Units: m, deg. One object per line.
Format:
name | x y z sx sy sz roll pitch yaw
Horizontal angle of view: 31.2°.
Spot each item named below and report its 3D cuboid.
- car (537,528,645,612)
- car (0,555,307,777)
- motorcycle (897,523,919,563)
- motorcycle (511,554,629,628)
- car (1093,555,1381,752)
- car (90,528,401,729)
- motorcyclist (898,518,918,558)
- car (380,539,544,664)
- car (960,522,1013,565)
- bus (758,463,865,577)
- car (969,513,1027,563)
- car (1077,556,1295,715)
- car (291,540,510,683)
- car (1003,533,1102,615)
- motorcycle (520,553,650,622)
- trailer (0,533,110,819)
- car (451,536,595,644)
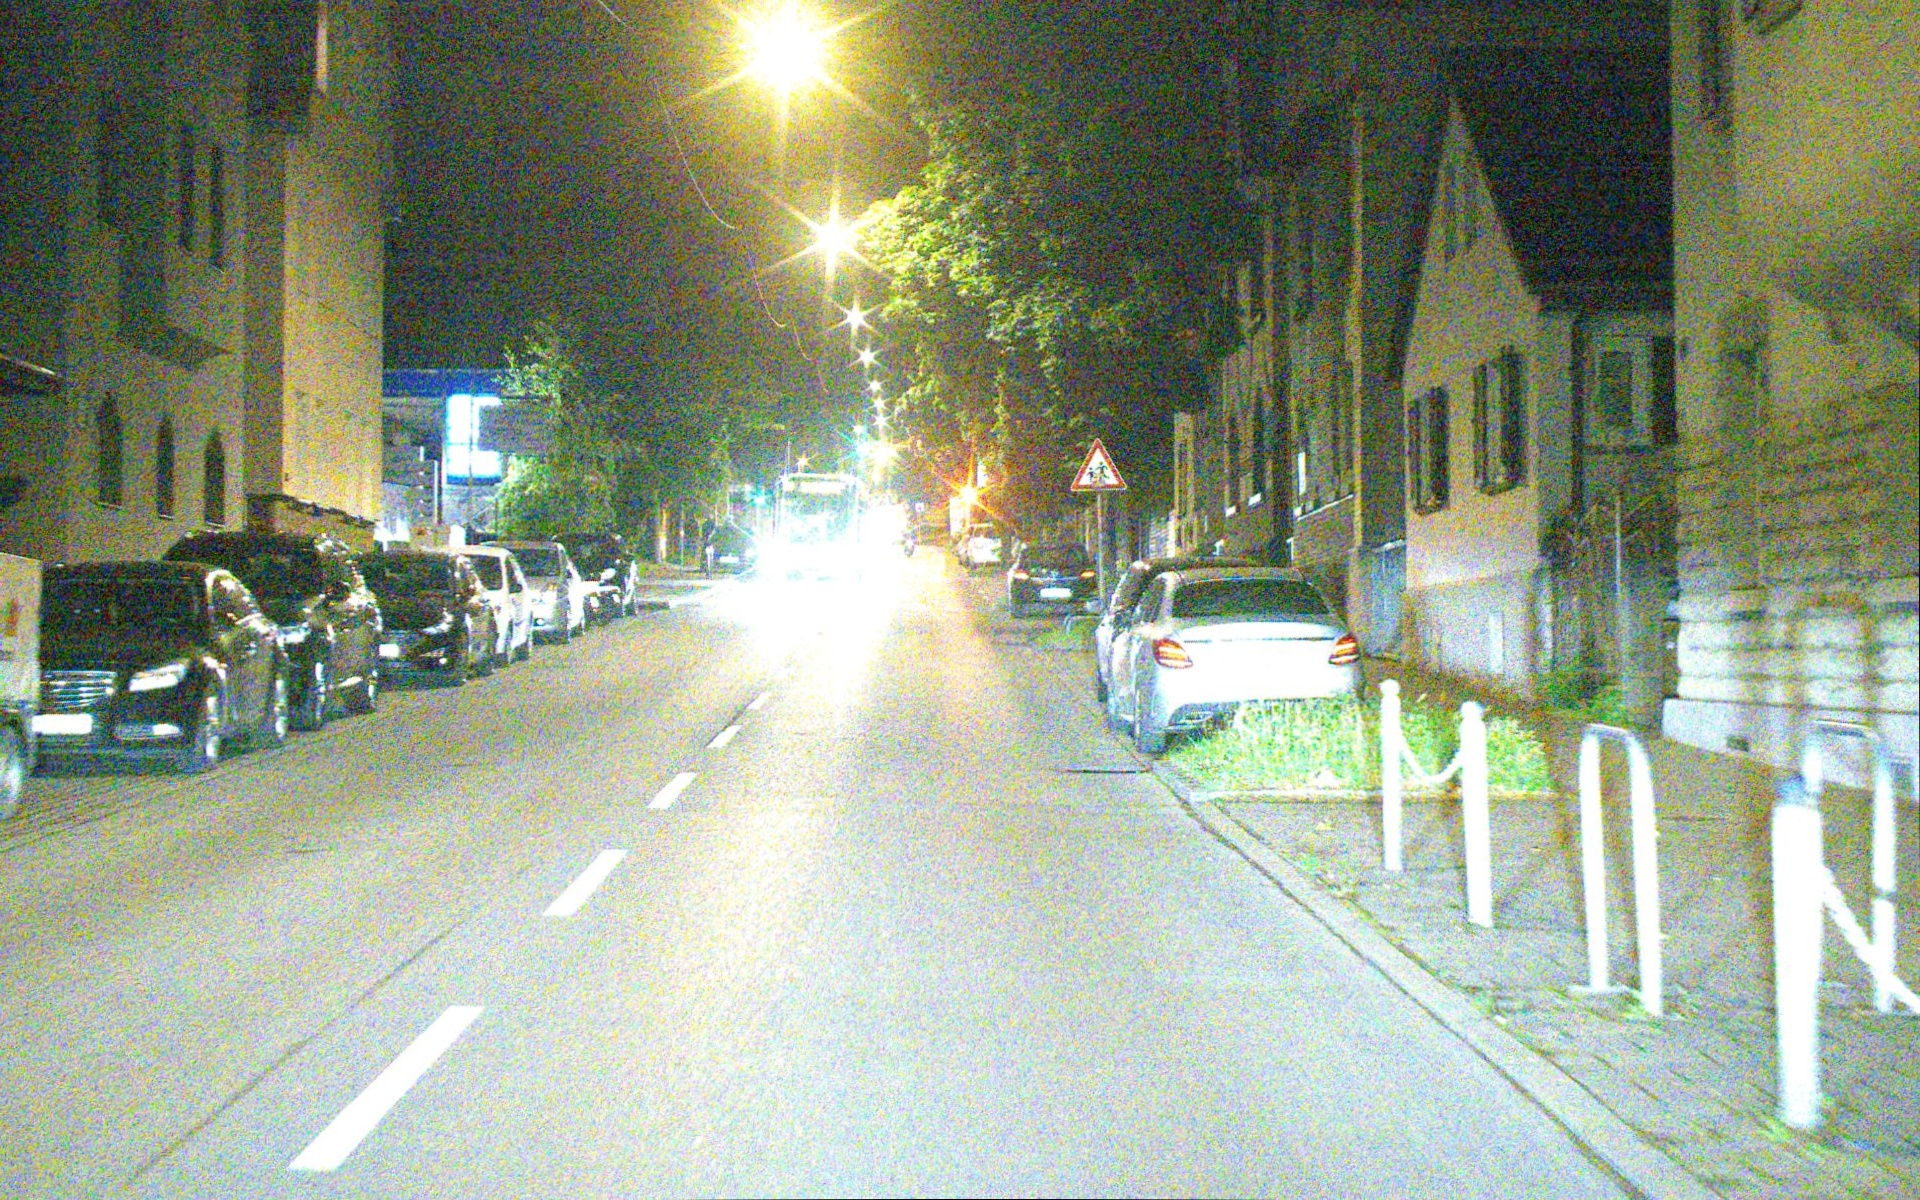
car | -6.768 -0.548 63.246 1.638 1.493 2.765 0 0 1
car | -6.125 0.418 25.506 1.835 1.442 4.545 0 1 -2
motorcycle | -2.315 -2.552 153.350 0.931 1.746 2.625 1 0 -1
motorcycle | -6.338 -0.155 55.794 0.714 1.143 2.208 -2 2 -43
car | 2.196 0.383 28.430 1.845 1.412 4.645 -3 1 -1
car | -6.272 0.190 30.672 1.835 1.613 4.545 1 1 0
motorcyclist | -2.314 -2.755 153.344 0.848 1.746 0.805 1 0 -1
car | -6.299 0.002 43.812 1.621 1.486 3.781 1 0 -2
car | 0.966 -2.144 129.003 1.868 1.521 4.150 -1 2 -1
bus | -4.376 -2.425 103.270 2.837 3.166 10.499 1 2 -1
car | 1.253 -2.104 115.670 1.812 1.588 4.274 -1 2 -1
car | 2.156 0.302 33.731 1.771 1.443 4.020 0 1 -1
car | -6.277 0.104 38.991 1.863 1.486 4.281 1 0 -2
car | 1.766 -0.529 66.845 1.763 1.471 4.081 -1 2 0
motorcycle | -6.314 -0.217 57.812 2.206 1.127 0.714 1 2 32
trailer | -6.270 0.417 19.866 1.638 1.634 3.439 1 0 4
car | -6.507 -0.178 51.549 1.704 1.486 4.228 -1 2 -2
